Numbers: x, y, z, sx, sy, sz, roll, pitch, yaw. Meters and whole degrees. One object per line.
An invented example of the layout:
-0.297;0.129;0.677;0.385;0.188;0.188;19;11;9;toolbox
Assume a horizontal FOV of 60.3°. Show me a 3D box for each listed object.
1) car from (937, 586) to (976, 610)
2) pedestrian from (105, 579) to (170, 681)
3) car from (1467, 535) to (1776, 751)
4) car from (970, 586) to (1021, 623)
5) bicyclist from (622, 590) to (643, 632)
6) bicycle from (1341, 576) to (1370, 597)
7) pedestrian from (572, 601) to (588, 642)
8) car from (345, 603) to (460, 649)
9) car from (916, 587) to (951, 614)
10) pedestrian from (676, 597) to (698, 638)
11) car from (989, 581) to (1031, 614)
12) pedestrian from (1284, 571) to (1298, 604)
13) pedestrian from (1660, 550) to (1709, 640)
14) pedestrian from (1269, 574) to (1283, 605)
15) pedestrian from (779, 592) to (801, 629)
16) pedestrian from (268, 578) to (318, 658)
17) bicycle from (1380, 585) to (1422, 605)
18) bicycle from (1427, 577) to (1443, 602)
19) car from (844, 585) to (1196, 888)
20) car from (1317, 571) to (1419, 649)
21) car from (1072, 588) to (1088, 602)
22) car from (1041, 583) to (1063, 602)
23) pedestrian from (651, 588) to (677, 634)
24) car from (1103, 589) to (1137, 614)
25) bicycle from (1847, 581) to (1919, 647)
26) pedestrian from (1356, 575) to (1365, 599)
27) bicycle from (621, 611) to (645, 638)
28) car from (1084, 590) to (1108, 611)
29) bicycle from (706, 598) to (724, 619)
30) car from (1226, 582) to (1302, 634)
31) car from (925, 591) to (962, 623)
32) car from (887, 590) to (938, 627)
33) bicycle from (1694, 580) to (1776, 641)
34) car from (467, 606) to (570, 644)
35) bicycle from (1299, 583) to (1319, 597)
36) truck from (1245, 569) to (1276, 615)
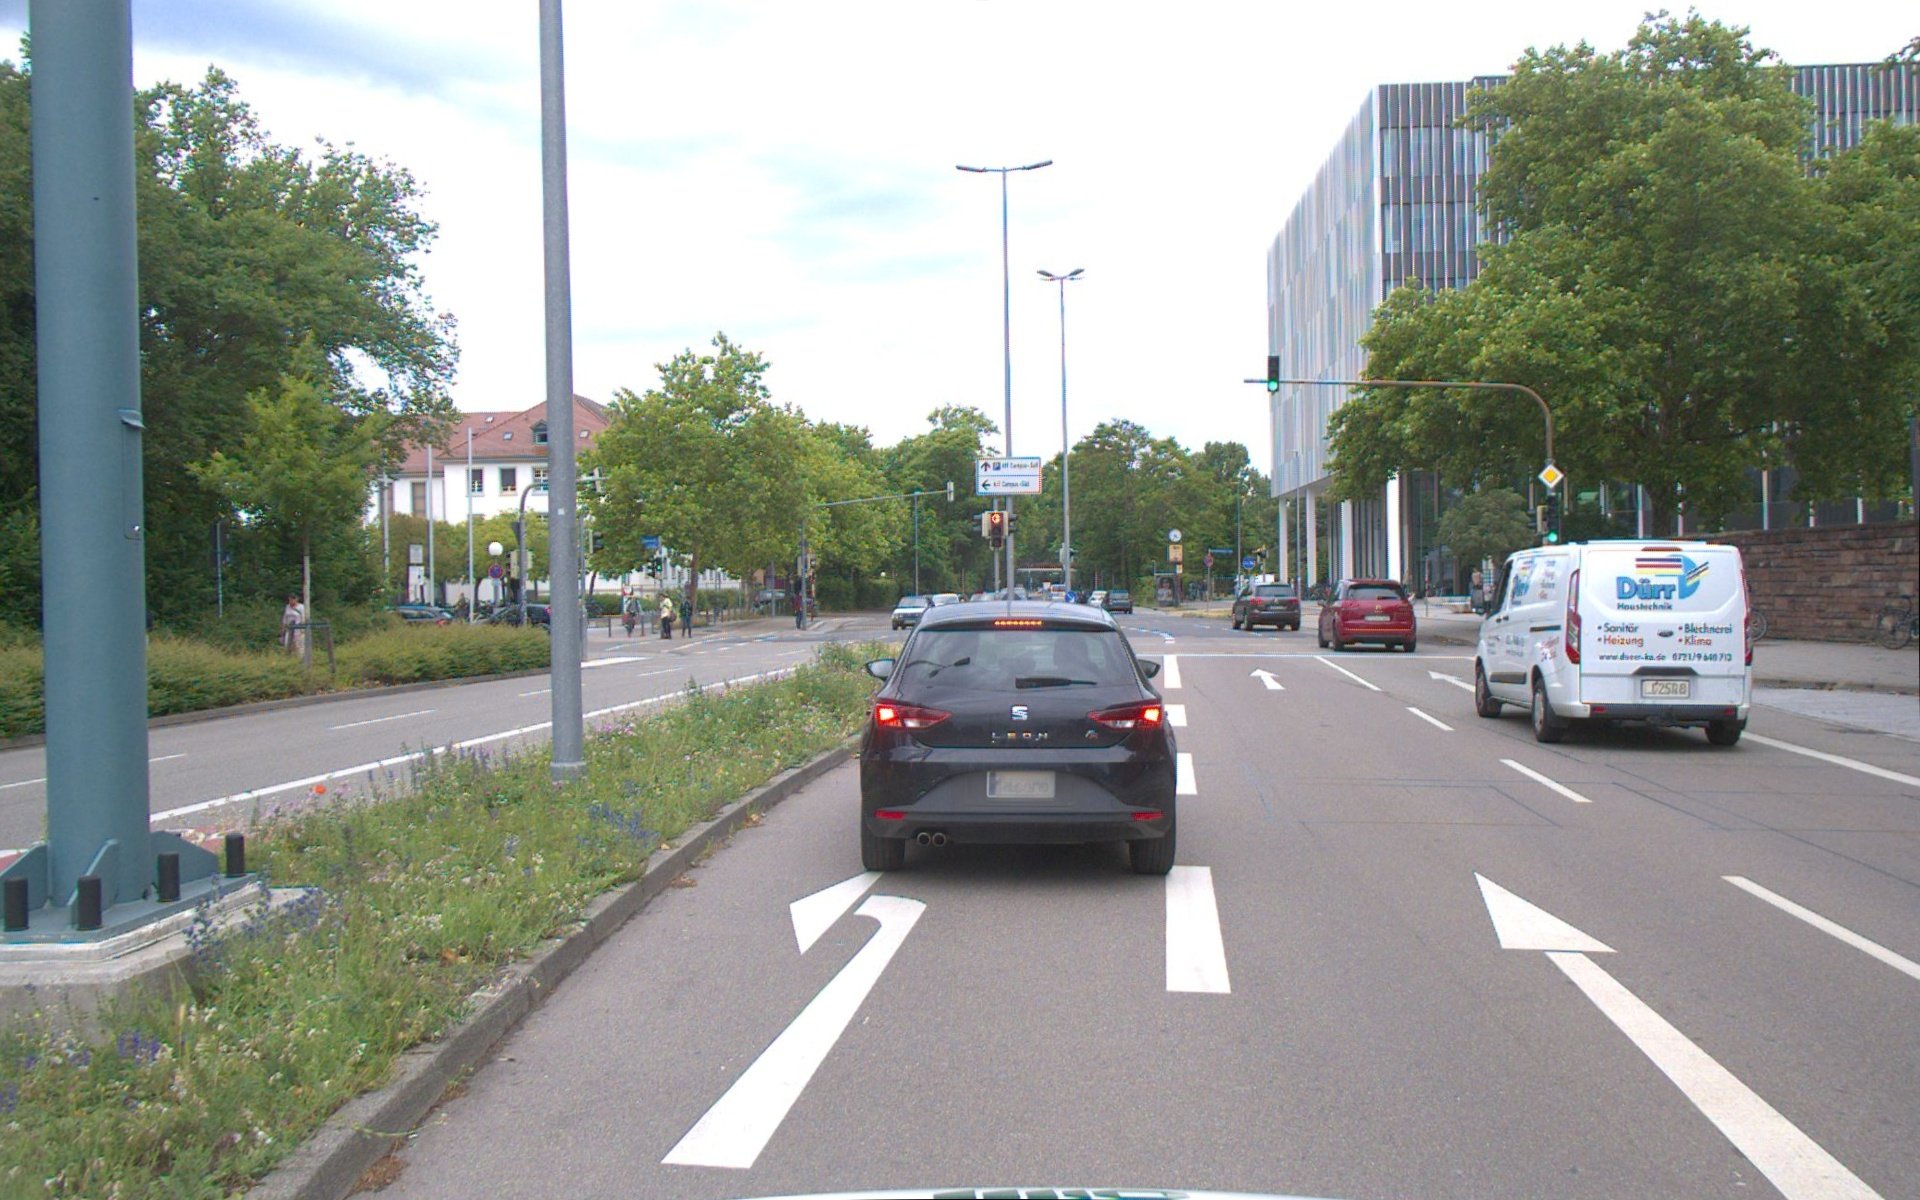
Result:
-0.241;-0.155;125.693;1.722;1.615;4.002;-2;1;19;car
-14.556;0.516;29.268;0.607;1.759;0.819;-2;1;6;pedestrian
6.891;0.367;17.748;1.925;2.006;4.347;1;1;6;car
1.606;0.201;73.192;1.726;1.486;4.795;-3;0;6;car
-13.213;0.443;66.801;0.657;1.664;0.955;0;-1;-23;bicyclist
24.592;-0.824;102.896;1.752;1.232;0.565;-3;1;-27;bicycle
-14.980;0.848;65.192;0.561;1.553;0.845;-1;-4;-17;pedestrian
-21.735;0.995;64.607;3.977;1.477;1.620;-2;6;-11;car
-1.828;0.001;115.307;1.866;1.746;4.003;-3;1;7;car
-10.870;0.685;65.784;0.775;1.585;0.697;-1;-3;-13;pedestrian
2.804;-0.126;91.386;1.880;1.693;4.402;-3;0;7;car
18.125;-0.694;90.684;0.672;1.812;0.678;-1;1;7;pedestrian
15.320;-0.118;34.987;0.618;1.853;1.033;-2;1;7;pedestrian
17.310;-0.566;90.602;0.672;1.668;0.633;0;1;6;pedestrian
-7.672;0.489;74.636;0.856;1.613;0.543;-3;0;0;pedestrian
-14.268;0.385;35.399;0.685;1.664;0.672;-2;1;6;pedestrian
21.733;-0.260;81.534;1.854;0.914;0.695;-3;1;-14;bicycle
25.641;-0.593;89.318;0.516;1.275;1.665;-2;1;25;bicycle
0.486;0.653;9.954;1.716;1.457;3.772;0;0;6;car
9.237;0.180;37.675;1.907;1.652;3.752;0;1;8;car
11.402;-0.487;157.261;1.473;1.214;3.165;-3;1;3;car
8.070;-0.652;145.075;1.661;1.530;4.010;-3;1;0;car
-11.679;0.437;65.229;0.828;1.770;0.825;-1;-4;-22;pedestrian
9.946;0.066;103.073;1.859;1.377;3.884;-3;1;3;car
16.601;0.227;28.917;0.922;1.092;1.966;-3;0;-8;bicycle
22.777;-0.742;94.040;0.462;1.385;0.446;-2;1;17;pedestrian
-13.196;0.981;66.726;0.657;1.081;1.608;0;0;-22;bicycle
9.831;0.007;119.741;1.582;1.377;4.002;-3;1;3;car
-13.214;0.437;89.218;0.595;1.079;2.044;-3;1;0;bicycle
10.794;0.244;58.968;1.875;1.693;4.114;-3;1;0;car
-0.812;0.342;83.715;1.669;1.456;4.228;-3;1;2;car
-1.994;0.334;70.419;1.573;1.405;3.812;-3;1;7;car
16.256;0.202;34.739;0.786;1.194;1.955;-4;1;2;bicycle
-17.447;0.966;65.439;3.580;1.244;1.565;-1;8;0;car
24.713;-0.712;117.106;1.357;0.958;0.488;-2;1;14;bicycle
15.504;-0.450;85.385;1.290;2.282;3.404;-2;1;6;truck
